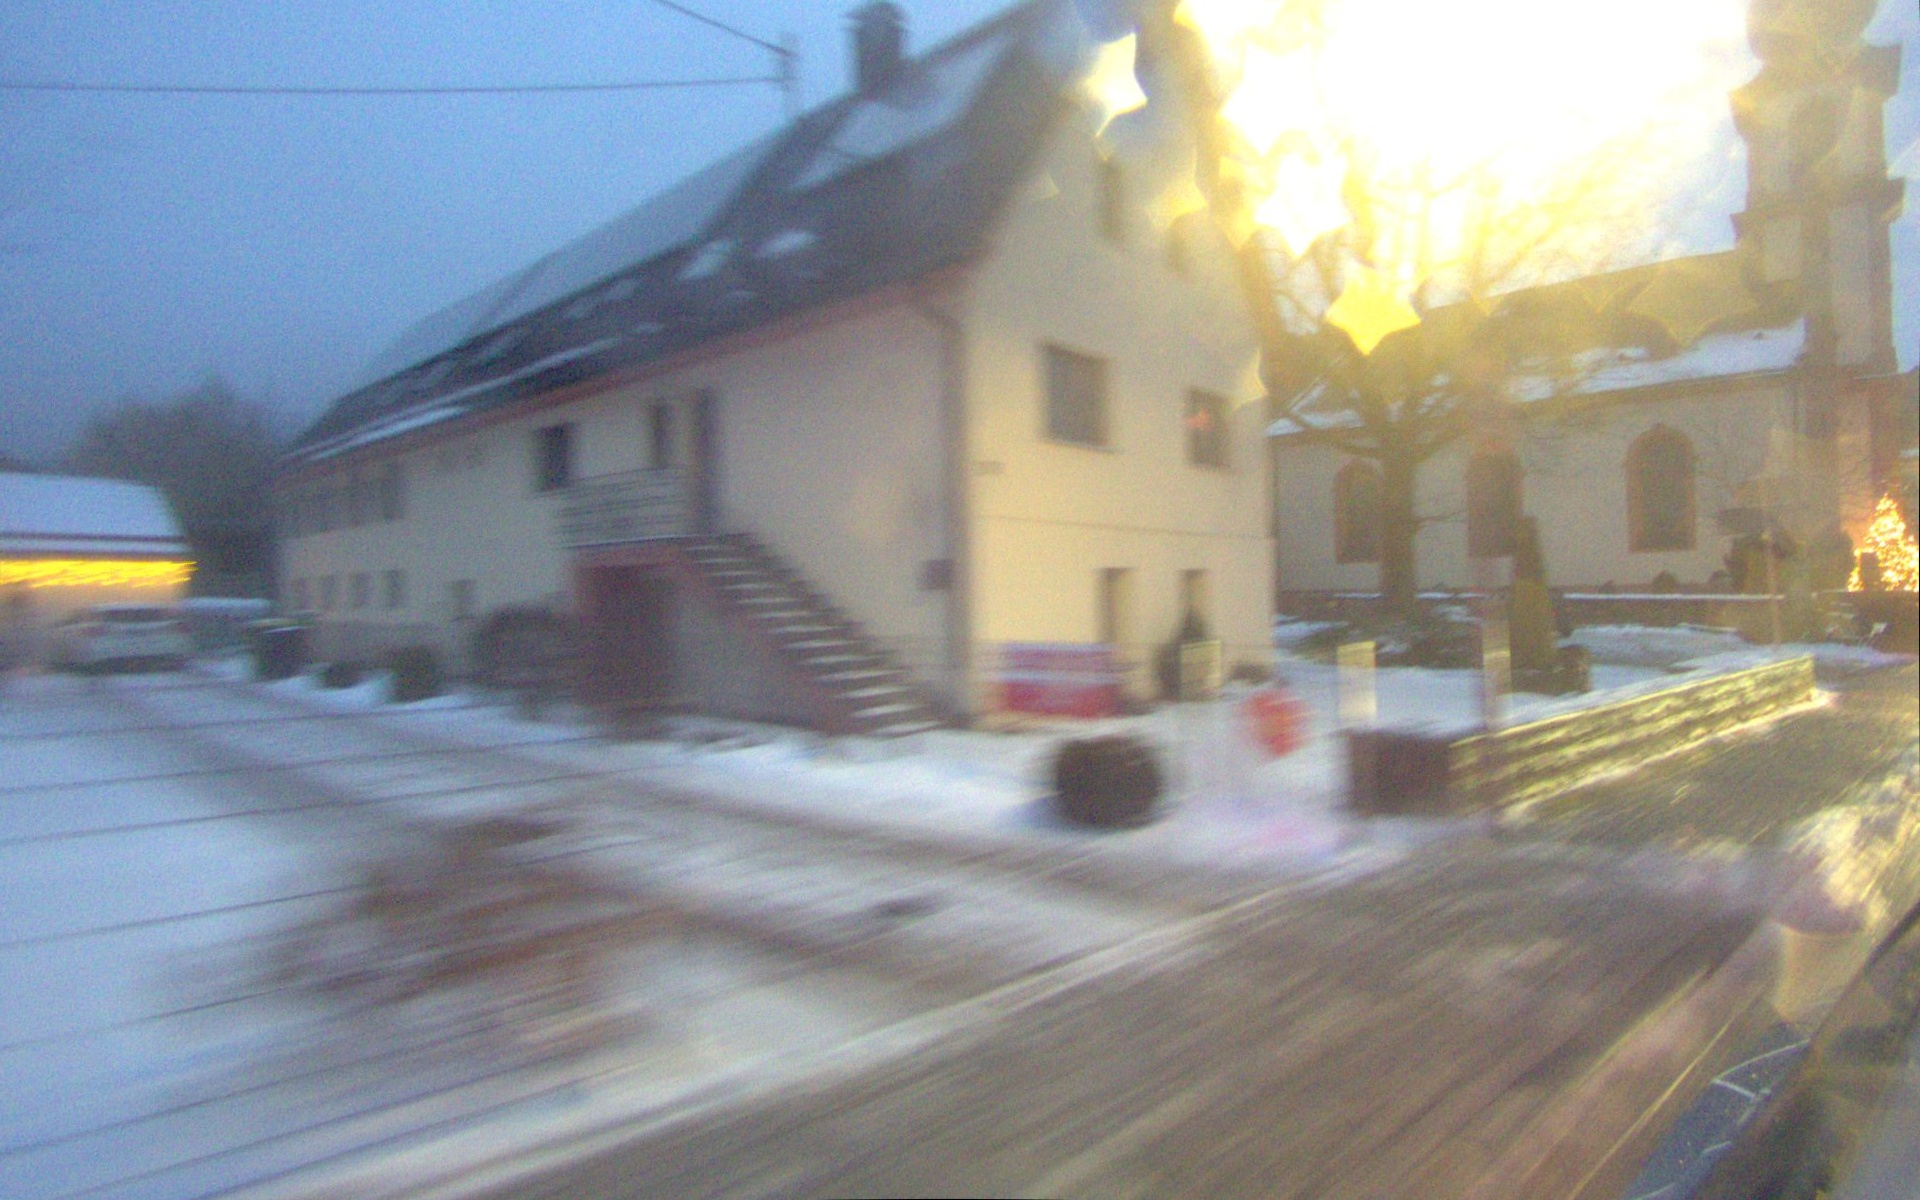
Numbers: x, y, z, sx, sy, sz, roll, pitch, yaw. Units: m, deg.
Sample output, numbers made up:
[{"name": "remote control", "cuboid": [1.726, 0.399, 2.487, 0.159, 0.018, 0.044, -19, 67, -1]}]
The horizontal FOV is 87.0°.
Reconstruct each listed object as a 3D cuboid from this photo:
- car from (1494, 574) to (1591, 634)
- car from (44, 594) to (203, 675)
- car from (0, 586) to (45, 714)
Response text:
[{"name": "car", "cuboid": [16.296, 0.058, 28.497, 1.735, 1.430, 4.055, 0, 3, 21]}, {"name": "car", "cuboid": [-17.950, 0.668, 21.664, 4.074, 1.521, 2.022, 0, 1, 41]}, {"name": "car", "cuboid": [-14.360, 0.681, 12.205, 4.434, 1.629, 2.331, -1, 1, -26]}]
